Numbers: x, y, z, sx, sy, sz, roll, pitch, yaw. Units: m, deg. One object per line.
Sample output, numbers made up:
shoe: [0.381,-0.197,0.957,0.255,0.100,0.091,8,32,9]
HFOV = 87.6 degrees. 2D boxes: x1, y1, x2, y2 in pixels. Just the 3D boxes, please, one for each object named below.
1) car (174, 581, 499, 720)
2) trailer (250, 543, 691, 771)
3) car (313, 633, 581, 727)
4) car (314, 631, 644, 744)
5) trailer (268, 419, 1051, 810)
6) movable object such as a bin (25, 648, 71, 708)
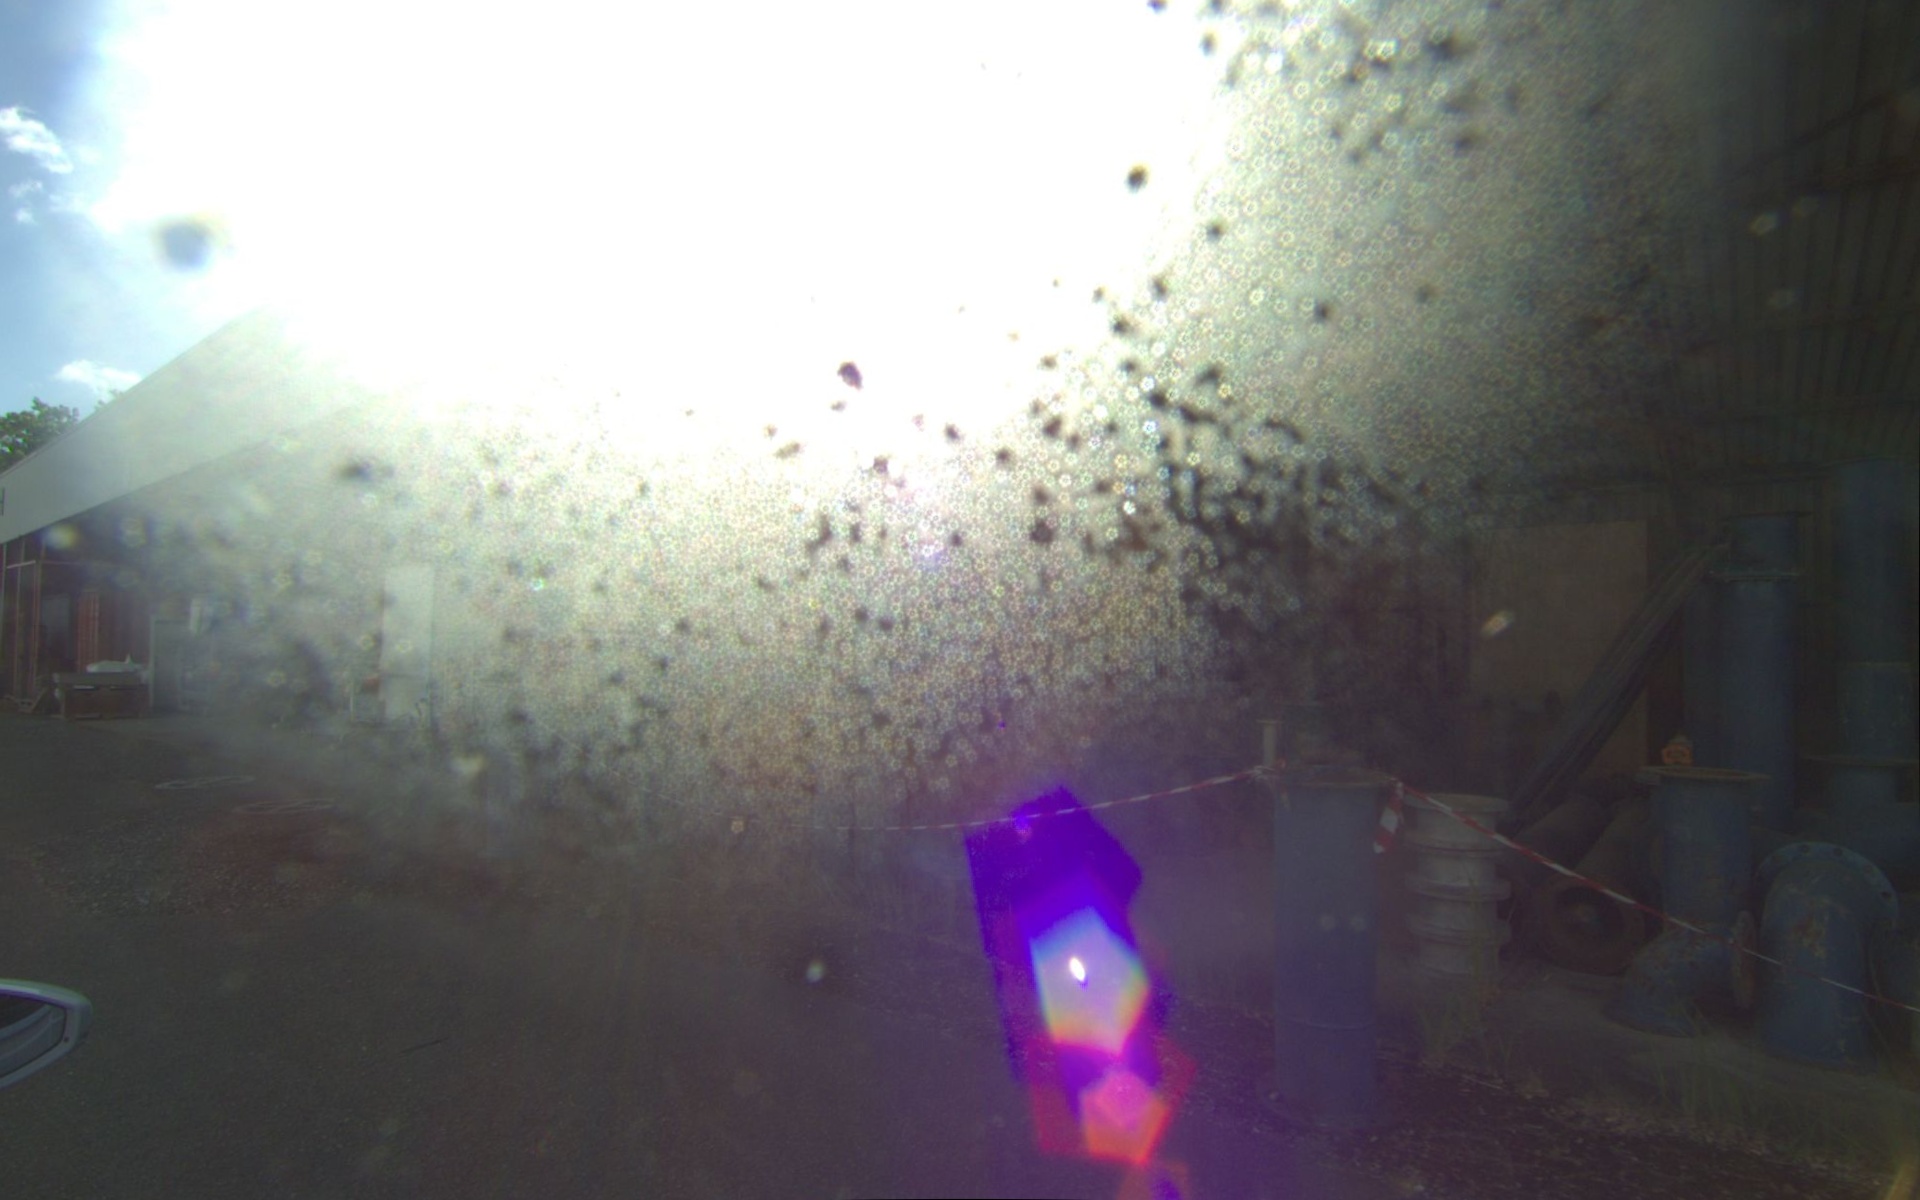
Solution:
car: [-11.934,1.011,19.500,1.976,2.354,4.961,-1,-4,39]
trailer: [-6.096,0.733,12.988,1.808,2.421,4.787,-1,-3,44]
car: [-9.185,1.401,18.243,1.764,1.491,3.979,-1,-3,34]
car: [-7.312,1.289,15.639,1.754,1.514,4.317,-1,-3,37]
trailer: [-2.751,0.379,13.146,2.819,3.256,10.002,-1,-3,39]
movable object such as a bin: [-18.488,1.563,20.292,1.225,1.179,0.578,-1,-3,44]
